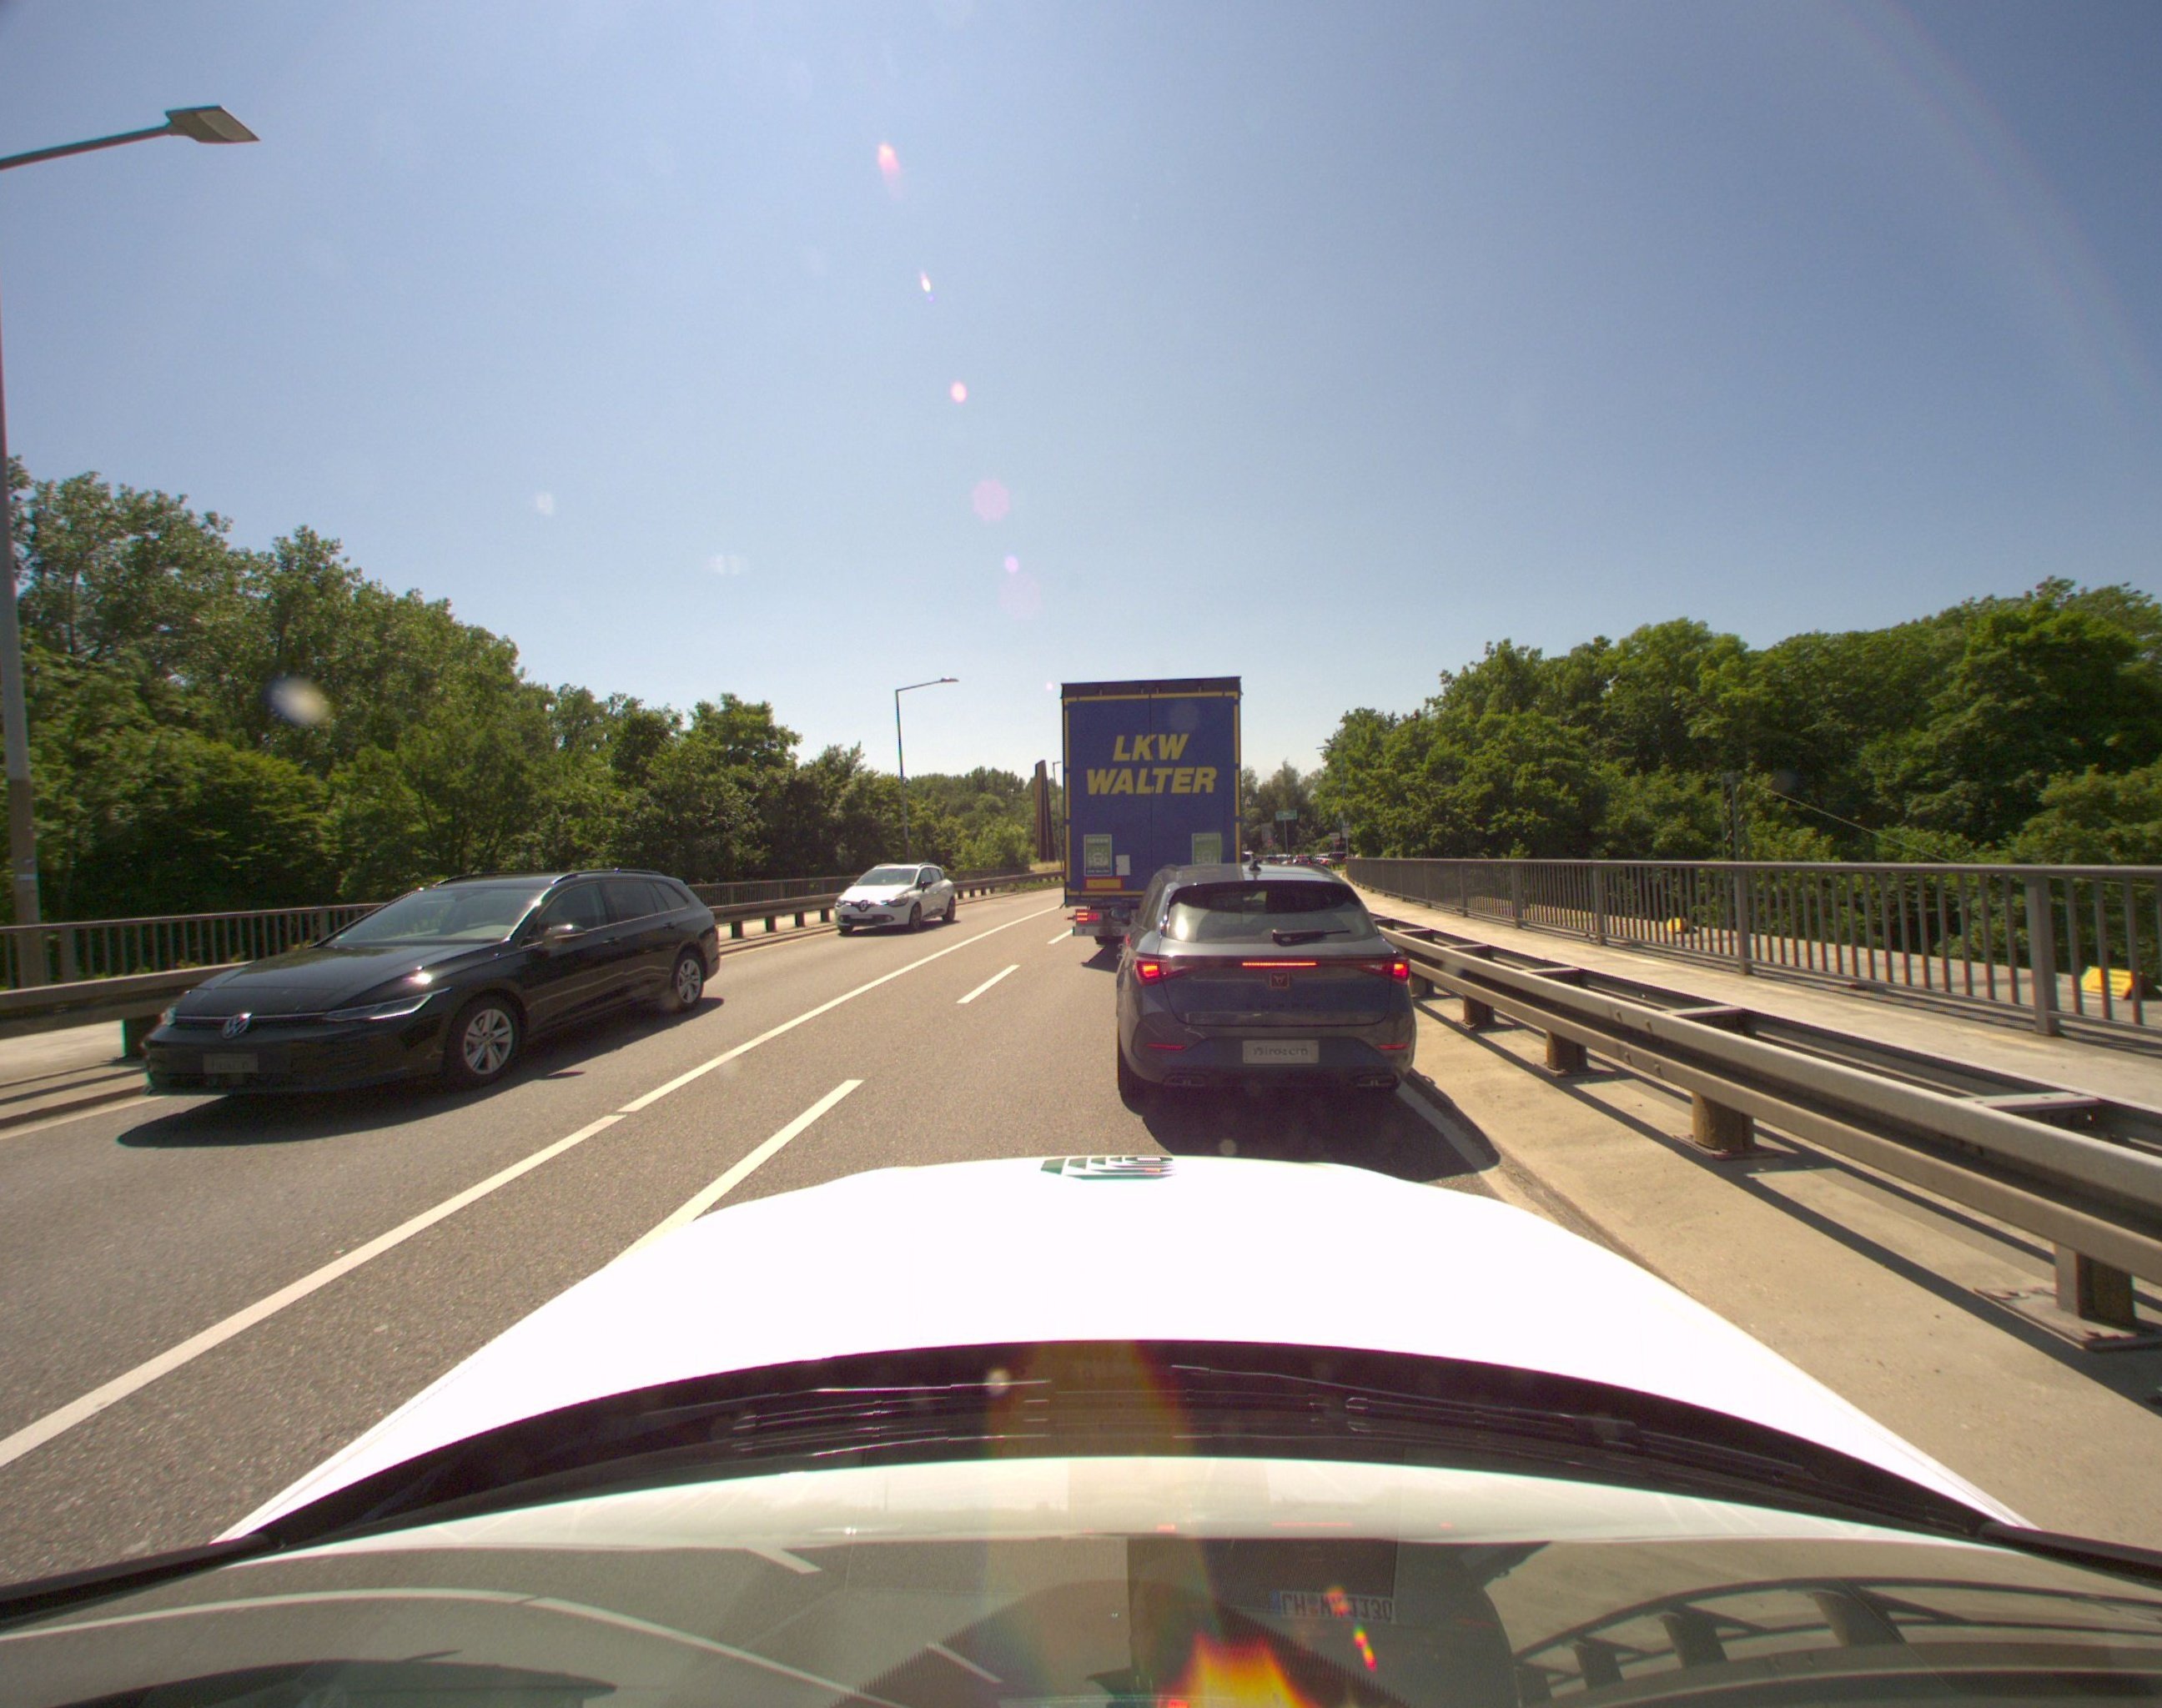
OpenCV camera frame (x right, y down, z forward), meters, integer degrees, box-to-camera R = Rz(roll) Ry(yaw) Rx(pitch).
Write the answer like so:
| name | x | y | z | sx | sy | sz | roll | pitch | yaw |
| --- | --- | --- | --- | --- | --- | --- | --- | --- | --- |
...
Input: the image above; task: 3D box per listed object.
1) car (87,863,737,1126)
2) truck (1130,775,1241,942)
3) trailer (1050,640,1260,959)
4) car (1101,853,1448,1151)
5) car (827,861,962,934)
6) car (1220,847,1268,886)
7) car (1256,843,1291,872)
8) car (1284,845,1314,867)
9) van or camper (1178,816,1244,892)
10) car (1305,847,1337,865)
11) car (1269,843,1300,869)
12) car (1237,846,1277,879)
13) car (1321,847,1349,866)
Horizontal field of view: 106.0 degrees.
| name | x | y | z | sx | sy | sz | roll | pitch | yaw |
| --- | --- | --- | --- | --- | --- | --- | --- | --- | --- |
| car | -4.871 | 0.850 | 6.991 | 1.703 | 1.469 | 4.463 | -1 | 0 | 3 |
| truck | 3.343 | 0.132 | 25.114 | 2.887 | 4.418 | 6.573 | -1 | 0 | 10 |
| trailer | 2.057 | -0.754 | 17.666 | 2.887 | 4.418 | 12.466 | -1 | 0 | 10 |
| car | 1.099 | 0.748 | 6.025 | 1.669 | 1.456 | 3.963 | -1 | 0 | 4 |
| car | -4.134 | 0.913 | 18.738 | 1.590 | 1.449 | 4.065 | -1 | 0 | 9 |
| car | 8.234 | 0.587 | 40.945 | 1.706 | 1.844 | 4.020 | -1 | 0 | 20 |
| car | 13.093 | 0.226 | 55.286 | 1.706 | 1.844 | 4.021 | -1 | 0 | 21 |
| car | 18.223 | 0.189 | 67.889 | 1.670 | 1.760 | 4.023 | -1 | -1 | 25 |
| van or camper | 5.496 | 0.010 | 33.635 | 2.139 | 2.815 | 6.411 | -1 | 0 | 14 |
| car | 21.825 | 0.189 | 74.058 | 1.975 | 1.575 | 4.024 | 0 | -1 | 28 |
| car | 15.357 | 0.157 | 61.302 | 1.706 | 1.844 | 4.021 | -1 | 0 | 21 |
| car | 10.264 | 0.469 | 47.220 | 1.706 | 1.802 | 4.020 | -1 | 0 | 20 |
| car | 24.977 | 0.267 | 79.941 | 1.669 | 1.760 | 4.025 | -2 | -1 | 30 |
